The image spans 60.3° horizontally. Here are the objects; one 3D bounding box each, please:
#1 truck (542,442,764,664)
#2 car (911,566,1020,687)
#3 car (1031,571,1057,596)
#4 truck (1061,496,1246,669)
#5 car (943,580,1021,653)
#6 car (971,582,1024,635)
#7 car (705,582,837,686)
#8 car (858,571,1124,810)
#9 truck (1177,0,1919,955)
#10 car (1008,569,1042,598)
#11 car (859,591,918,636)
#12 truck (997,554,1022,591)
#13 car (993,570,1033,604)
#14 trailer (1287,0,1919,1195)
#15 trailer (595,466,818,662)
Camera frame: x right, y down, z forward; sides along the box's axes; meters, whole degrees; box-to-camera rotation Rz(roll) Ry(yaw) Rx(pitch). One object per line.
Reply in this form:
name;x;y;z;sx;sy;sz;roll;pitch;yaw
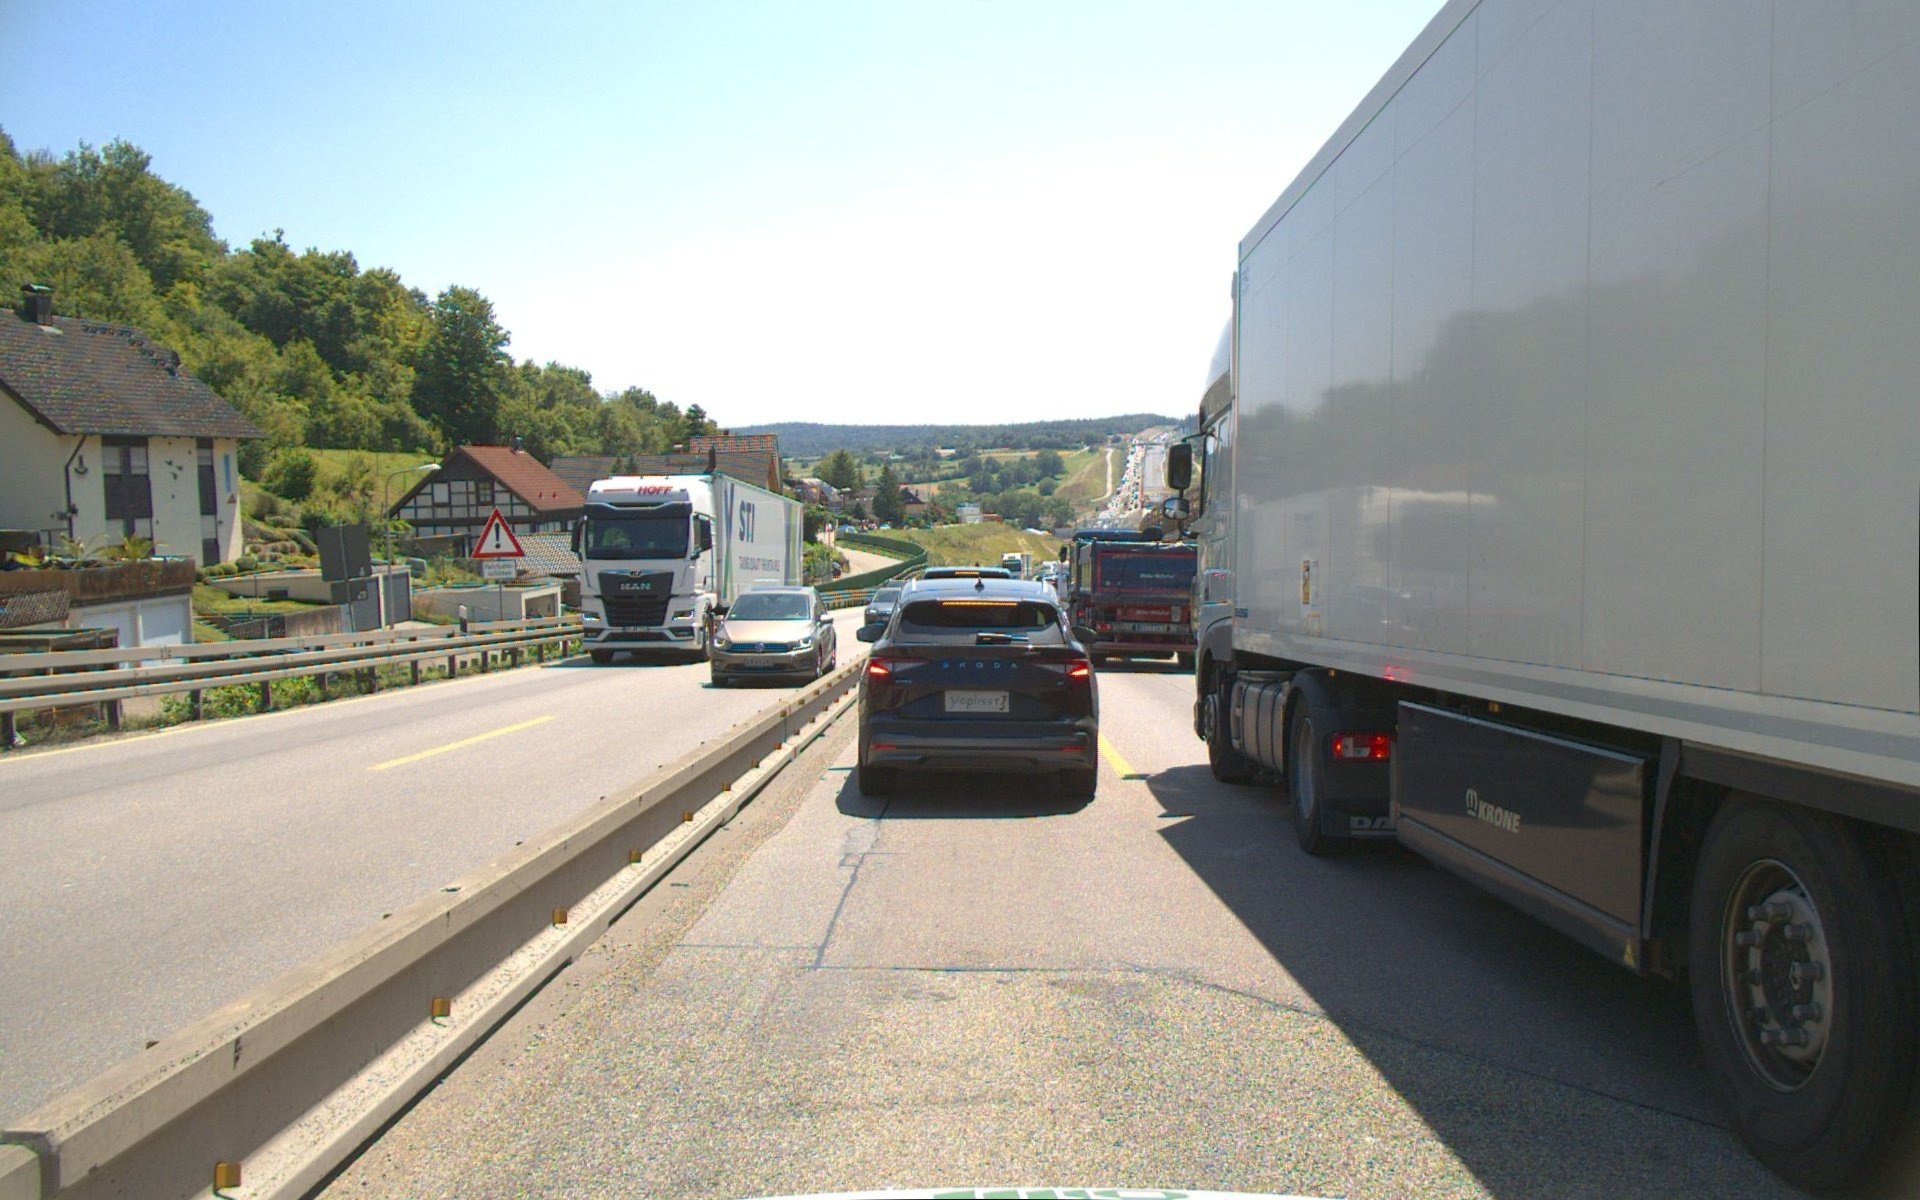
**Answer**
truck;-6.724;-0.937;37.746;3.235;4.438;8.302;1;0;1
car;0.031;0.391;28.733;1.672;1.914;3.999;1;1;-3
car;6.209;-1.225;122.053;1.665;1.758;3.839;1;0;6
truck;4.090;-0.308;37.961;3.129;3.247;12.811;1;0;2
car;0.505;0.363;41.152;1.672;1.650;3.999;1;1;-3
car;1.249;0.250;55.442;1.671;1.650;4.001;1;1;1
car;-3.084;0.539;27.692;1.808;1.601;3.999;0;0;-1
car;0.134;0.636;13.347;1.806;1.614;3.905;1;0;-3
truck;3.239;-0.649;10.607;2.462;4.095;8.236;1;0;-1
car;3.859;-0.955;98.937;1.952;1.613;3.837;1;0;2
car;-2.392;0.447;56.394;1.753;1.478;4.635;0;0;1
truck;5.954;-3.274;197.426;2.694;4.358;4.960;1;1;4
car;2.683;-0.626;83.812;1.952;1.613;3.837;1;0;2
trailer;3.318;-0.802;4.283;2.480;4.199;11.546;1;0;-1
trailer;-6.418;-0.794;44.976;3.184;4.455;14.063;1;0;3
